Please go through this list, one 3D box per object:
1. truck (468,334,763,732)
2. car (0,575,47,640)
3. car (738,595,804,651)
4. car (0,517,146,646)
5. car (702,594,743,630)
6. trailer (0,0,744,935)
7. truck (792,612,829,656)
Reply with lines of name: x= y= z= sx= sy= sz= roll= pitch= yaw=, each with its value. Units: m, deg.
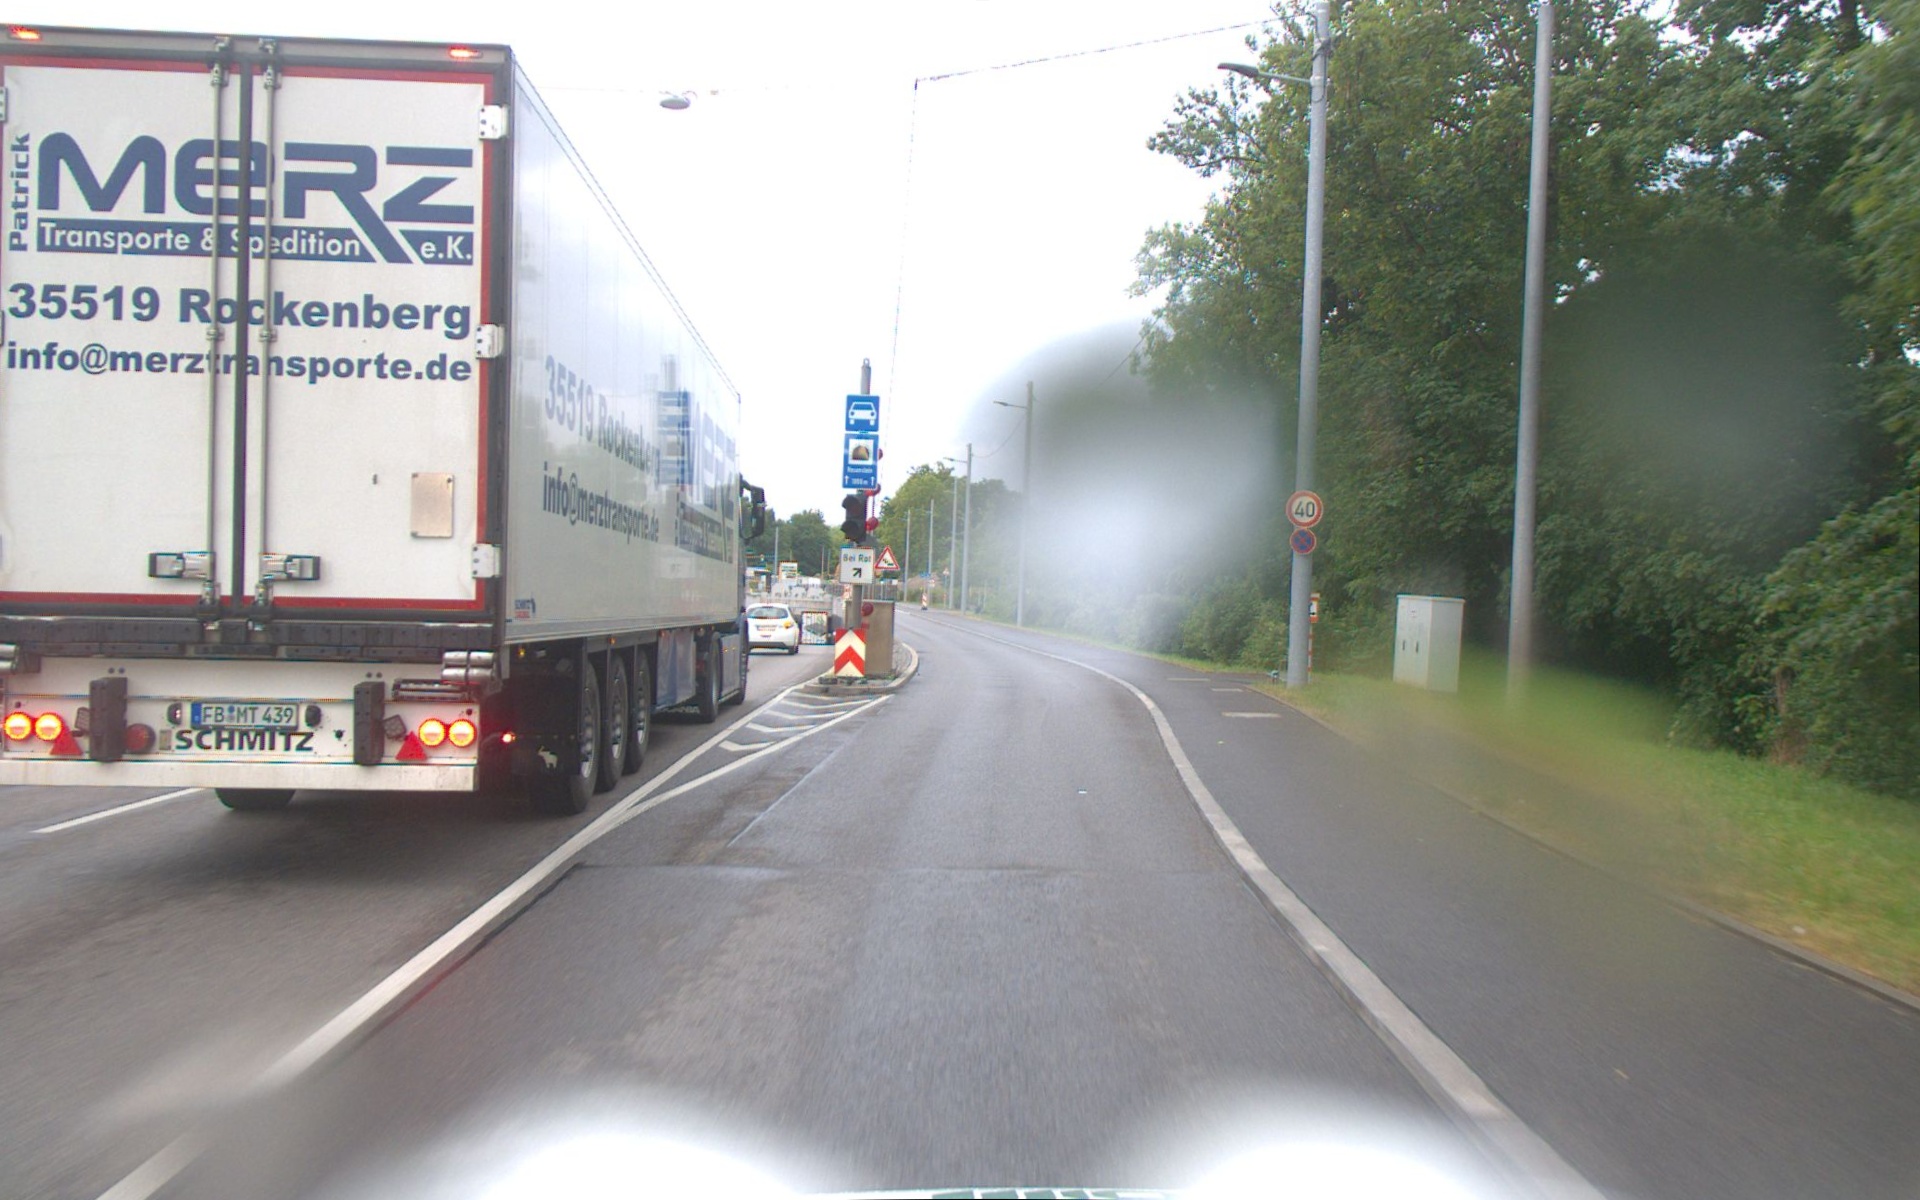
truck: x=-4.095 y=-0.754 z=21.033 sx=2.701 sy=4.278 sz=6.303 roll=0 pitch=1 yaw=-3
car: x=-24.107 y=0.168 z=40.197 sx=1.707 sy=1.542 sz=4.336 roll=1 pitch=0 yaw=-5
car: x=-5.574 y=0.649 z=49.144 sx=1.774 sy=1.448 sz=3.997 roll=1 pitch=2 yaw=-5
car: x=-20.630 y=-0.438 z=37.193 sx=2.011 sy=2.644 sz=6.158 roll=2 pitch=0 yaw=-5
car: x=-11.140 y=0.559 z=77.875 sx=1.648 sy=1.471 sz=3.997 roll=1 pitch=2 yaw=-5
trailer: x=-3.780 y=-0.689 z=14.266 sx=2.707 sy=4.327 sz=13.176 roll=0 pitch=1 yaw=-3
truck: x=-14.550 y=3.287 z=161.892 sx=3.449 sy=4.110 sz=8.066 roll=1 pitch=0 yaw=-5
